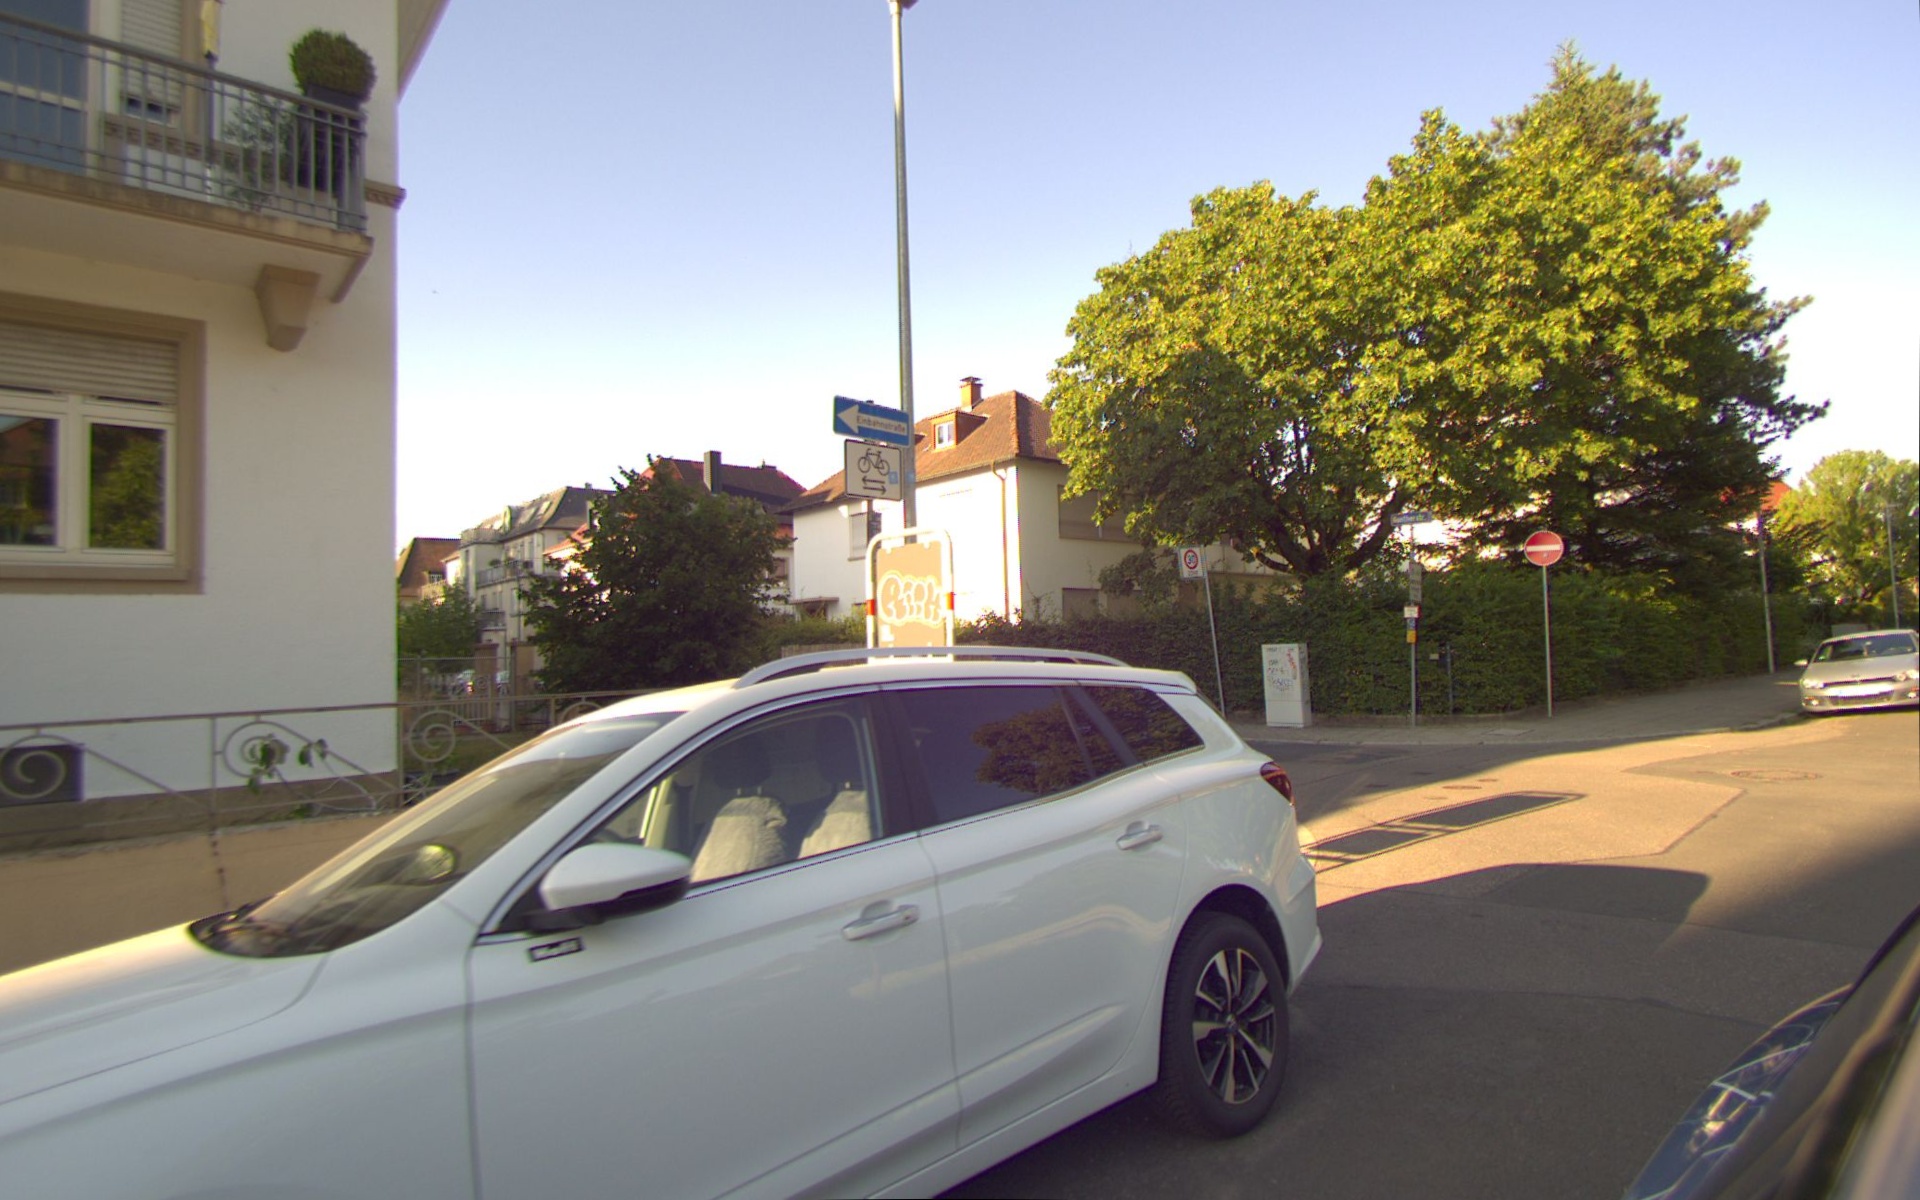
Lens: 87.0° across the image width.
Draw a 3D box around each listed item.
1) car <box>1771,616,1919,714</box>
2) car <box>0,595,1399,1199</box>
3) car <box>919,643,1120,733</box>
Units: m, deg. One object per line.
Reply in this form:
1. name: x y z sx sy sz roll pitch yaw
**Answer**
1. car: 16.267 1.111 17.900 4.059 1.424 2.108 1 -9 -41
2. car: -0.884 0.918 2.840 4.508 1.554 1.878 -1 -8 -40
3. car: 1.112 1.809 20.333 1.841 1.618 3.908 6 -9 -40
